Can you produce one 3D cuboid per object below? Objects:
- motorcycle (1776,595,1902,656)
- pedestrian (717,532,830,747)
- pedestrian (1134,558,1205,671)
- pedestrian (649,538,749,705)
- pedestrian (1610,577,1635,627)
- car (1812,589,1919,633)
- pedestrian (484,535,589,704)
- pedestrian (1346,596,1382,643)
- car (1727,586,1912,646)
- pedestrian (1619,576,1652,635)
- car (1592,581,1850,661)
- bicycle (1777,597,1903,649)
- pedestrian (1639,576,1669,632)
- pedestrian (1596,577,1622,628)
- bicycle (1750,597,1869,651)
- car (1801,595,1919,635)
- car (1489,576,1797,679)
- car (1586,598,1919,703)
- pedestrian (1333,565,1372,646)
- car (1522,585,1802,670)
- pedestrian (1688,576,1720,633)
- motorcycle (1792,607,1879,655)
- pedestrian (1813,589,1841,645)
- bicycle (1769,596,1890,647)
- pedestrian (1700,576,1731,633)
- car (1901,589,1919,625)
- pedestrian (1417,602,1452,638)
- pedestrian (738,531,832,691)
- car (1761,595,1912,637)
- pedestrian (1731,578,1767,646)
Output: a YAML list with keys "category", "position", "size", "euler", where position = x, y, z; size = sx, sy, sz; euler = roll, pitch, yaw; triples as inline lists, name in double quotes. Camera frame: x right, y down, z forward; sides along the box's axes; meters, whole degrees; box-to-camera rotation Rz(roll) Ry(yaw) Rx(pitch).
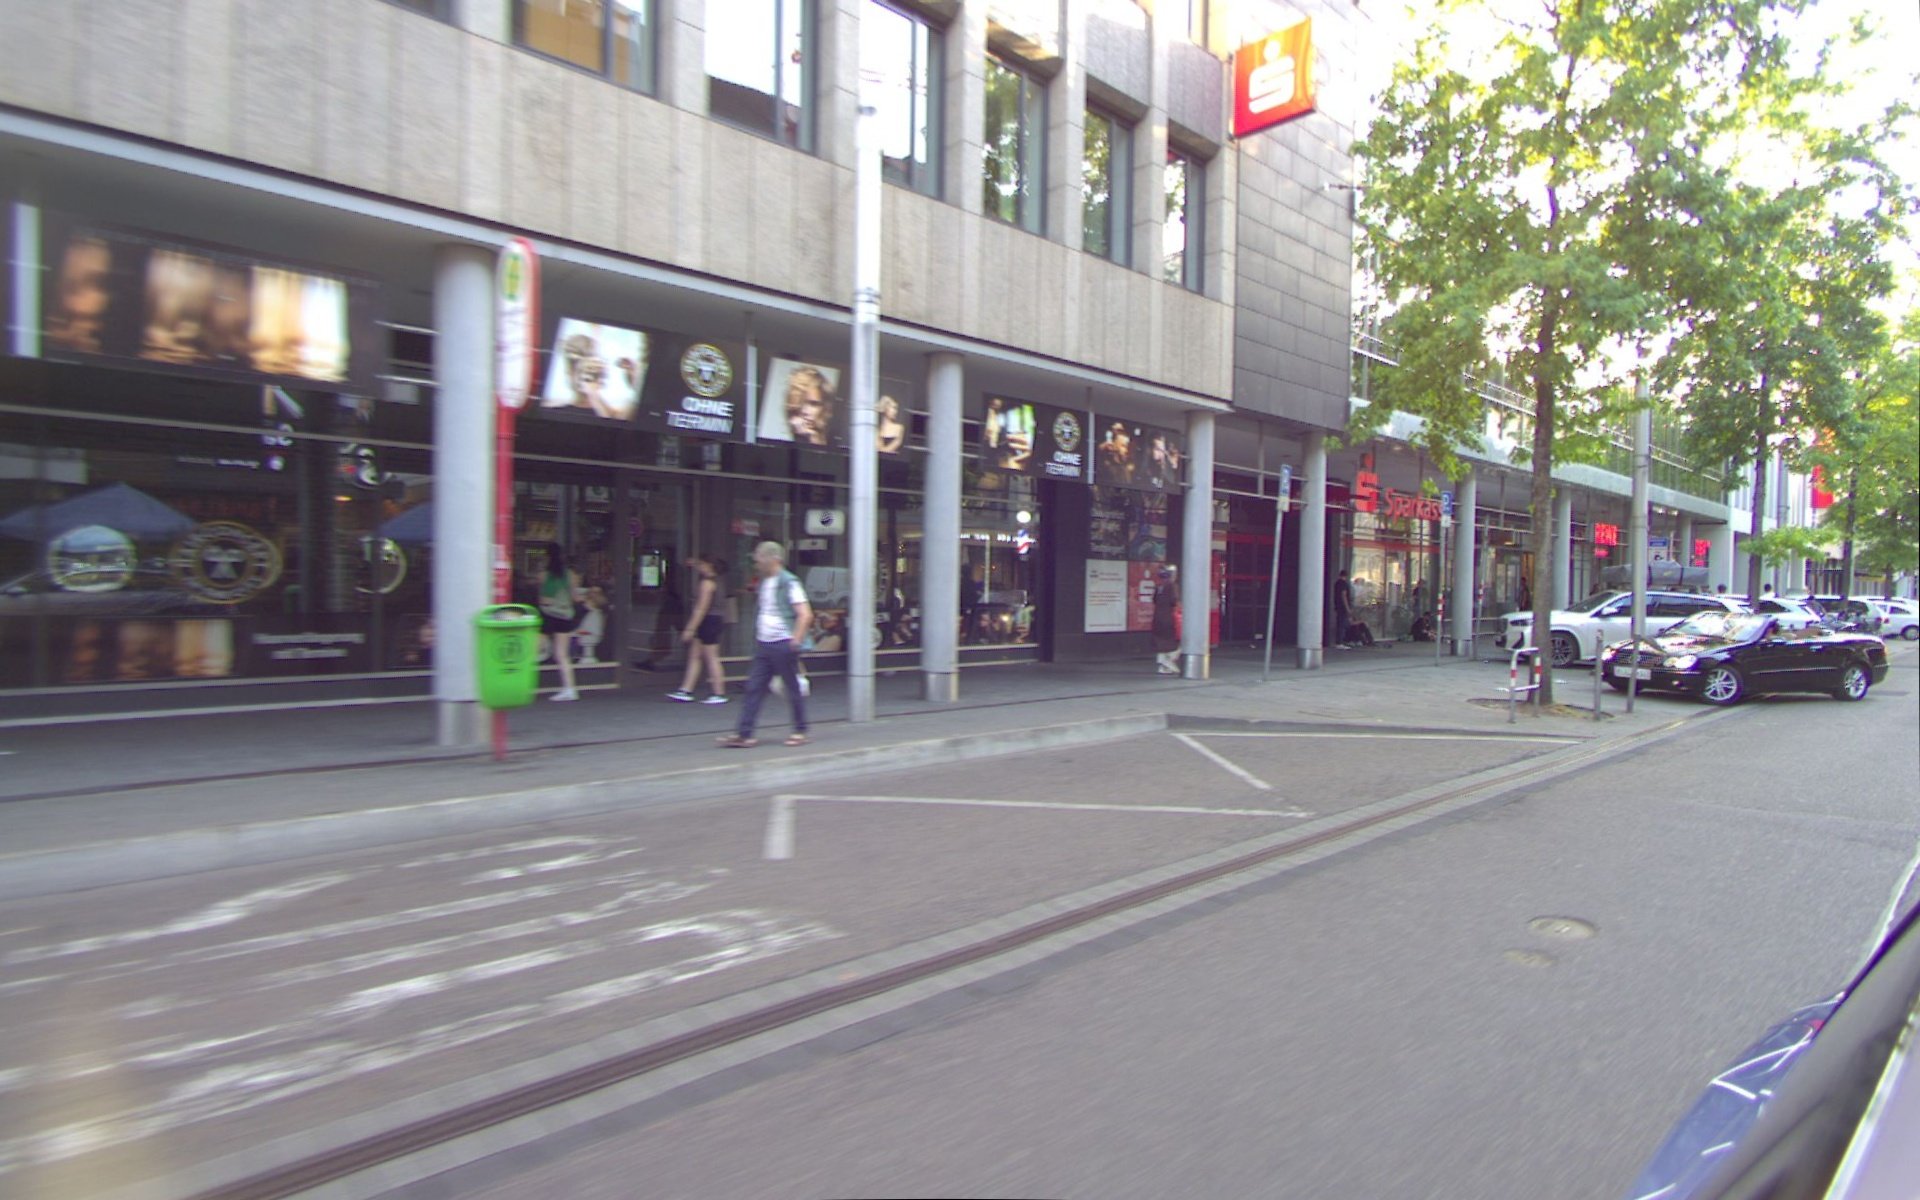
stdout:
- category: "motorcycle"
  position: [22.184, 0.637, 25.584]
  size: [2.071, 1.370, 1.157]
  euler: [2, 2, 0]
- category: "pedestrian"
  position: [-1.481, 0.291, 8.021]
  size: [0.627, 1.608, 0.669]
  euler: [0, 0, -42]
- category: "pedestrian"
  position: [3.188, 0.200, 15.438]
  size: [0.728, 1.664, 0.749]
  euler: [0, 2, -42]
- category: "pedestrian"
  position: [-2.734, 0.199, 10.615]
  size: [0.775, 1.664, 0.682]
  euler: [0, 2, -43]
- category: "pedestrian"
  position: [23.339, 0.054, 35.661]
  size: [0.617, 1.712, 0.557]
  euler: [0, 2, -41]
- category: "car"
  position: [40.128, 0.484, 44.230]
  size: [3.957, 1.809, 1.849]
  euler: [-1, -1, 25]
- category: "pedestrian"
  position: [-4.391, 0.173, 10.488]
  size: [0.805, 1.664, 0.711]
  euler: [0, 2, -43]
- category: "pedestrian"
  position: [9.450, 0.455, 23.653]
  size: [0.625, 1.048, 0.550]
  euler: [2, 2, 40]
- category: "car"
  position: [29.069, 0.544, 34.372]
  size: [4.397, 1.904, 1.793]
  euler: [-1, -1, 12]
- category: "pedestrian"
  position: [19.873, 0.146, 29.778]
  size: [0.617, 1.712, 0.617]
  euler: [0, 2, -41]
- category: "car"
  position: [18.512, 0.449, 24.863]
  size: [4.570, 1.607, 1.910]
  euler: [3, 2, 14]
- category: "bicycle"
  position: [25.707, 0.671, 29.616]
  size: [2.642, 1.475, 0.724]
  euler: [-1, -1, 22]
- category: "pedestrian"
  position: [21.667, 0.118, 31.595]
  size: [0.617, 1.712, 0.617]
  euler: [0, 2, -41]
- category: "pedestrian"
  position: [22.050, 0.073, 34.389]
  size: [0.617, 1.712, 0.557]
  euler: [0, 2, -41]
- category: "bicycle"
  position: [24.098, 0.686, 28.773]
  size: [2.461, 1.475, 0.652]
  euler: [-1, -1, 24]
- category: "car"
  position: [36.878, 0.584, 40.908]
  size: [3.948, 1.530, 1.853]
  euler: [-1, -1, 19]
- category: "car"
  position: [13.223, 0.477, 19.964]
  size: [4.575, 1.650, 1.908]
  euler: [3, 1, 17]
- category: "car"
  position: [12.234, 0.711, 15.640]
  size: [4.469, 1.426, 1.803]
  euler: [0, -1, -16]
- category: "pedestrian"
  position: [8.841, 0.115, 22.793]
  size: [0.617, 1.794, 0.557]
  euler: [0, 2, -41]
- category: "car"
  position: [14.998, 0.523, 21.967]
  size: [4.584, 1.457, 1.905]
  euler: [3, 3, 22]
- category: "pedestrian"
  position: [22.679, 0.131, 30.845]
  size: [0.617, 1.712, 0.617]
  euler: [0, 2, -41]
- category: "motorcycle"
  position: [23.116, 0.803, 26.743]
  size: [1.555, 1.113, 0.624]
  euler: [3, 2, 24]
- category: "pedestrian"
  position: [26.944, 0.513, 31.448]
  size: [0.616, 1.712, 0.618]
  euler: [1, 1, 44]
- category: "bicycle"
  position: [26.265, 0.656, 30.631]
  size: [2.643, 1.475, 0.671]
  euler: [-1, -1, 23]
- category: "pedestrian"
  position: [23.393, 0.122, 31.341]
  size: [0.617, 1.712, 0.617]
  euler: [0, 2, -41]
- category: "car"
  position: [50.578, 0.331, 51.444]
  size: [3.919, 1.809, 1.867]
  euler: [-1, -1, -7]
- category: "pedestrian"
  position: [12.349, 0.514, 26.348]
  size: [0.548, 0.892, 0.627]
  euler: [0, 2, -42]
- category: "pedestrian"
  position: [-2.059, 0.111, 11.902]
  size: [0.849, 1.794, 0.674]
  euler: [0, 2, -43]
- category: "car"
  position: [33.794, 0.610, 39.145]
  size: [3.948, 1.530, 1.789]
  euler: [-1, -1, 19]
- category: "pedestrian"
  position: [21.668, 0.325, 27.799]
  size: [0.617, 1.822, 0.617]
  euler: [0, 2, -41]
